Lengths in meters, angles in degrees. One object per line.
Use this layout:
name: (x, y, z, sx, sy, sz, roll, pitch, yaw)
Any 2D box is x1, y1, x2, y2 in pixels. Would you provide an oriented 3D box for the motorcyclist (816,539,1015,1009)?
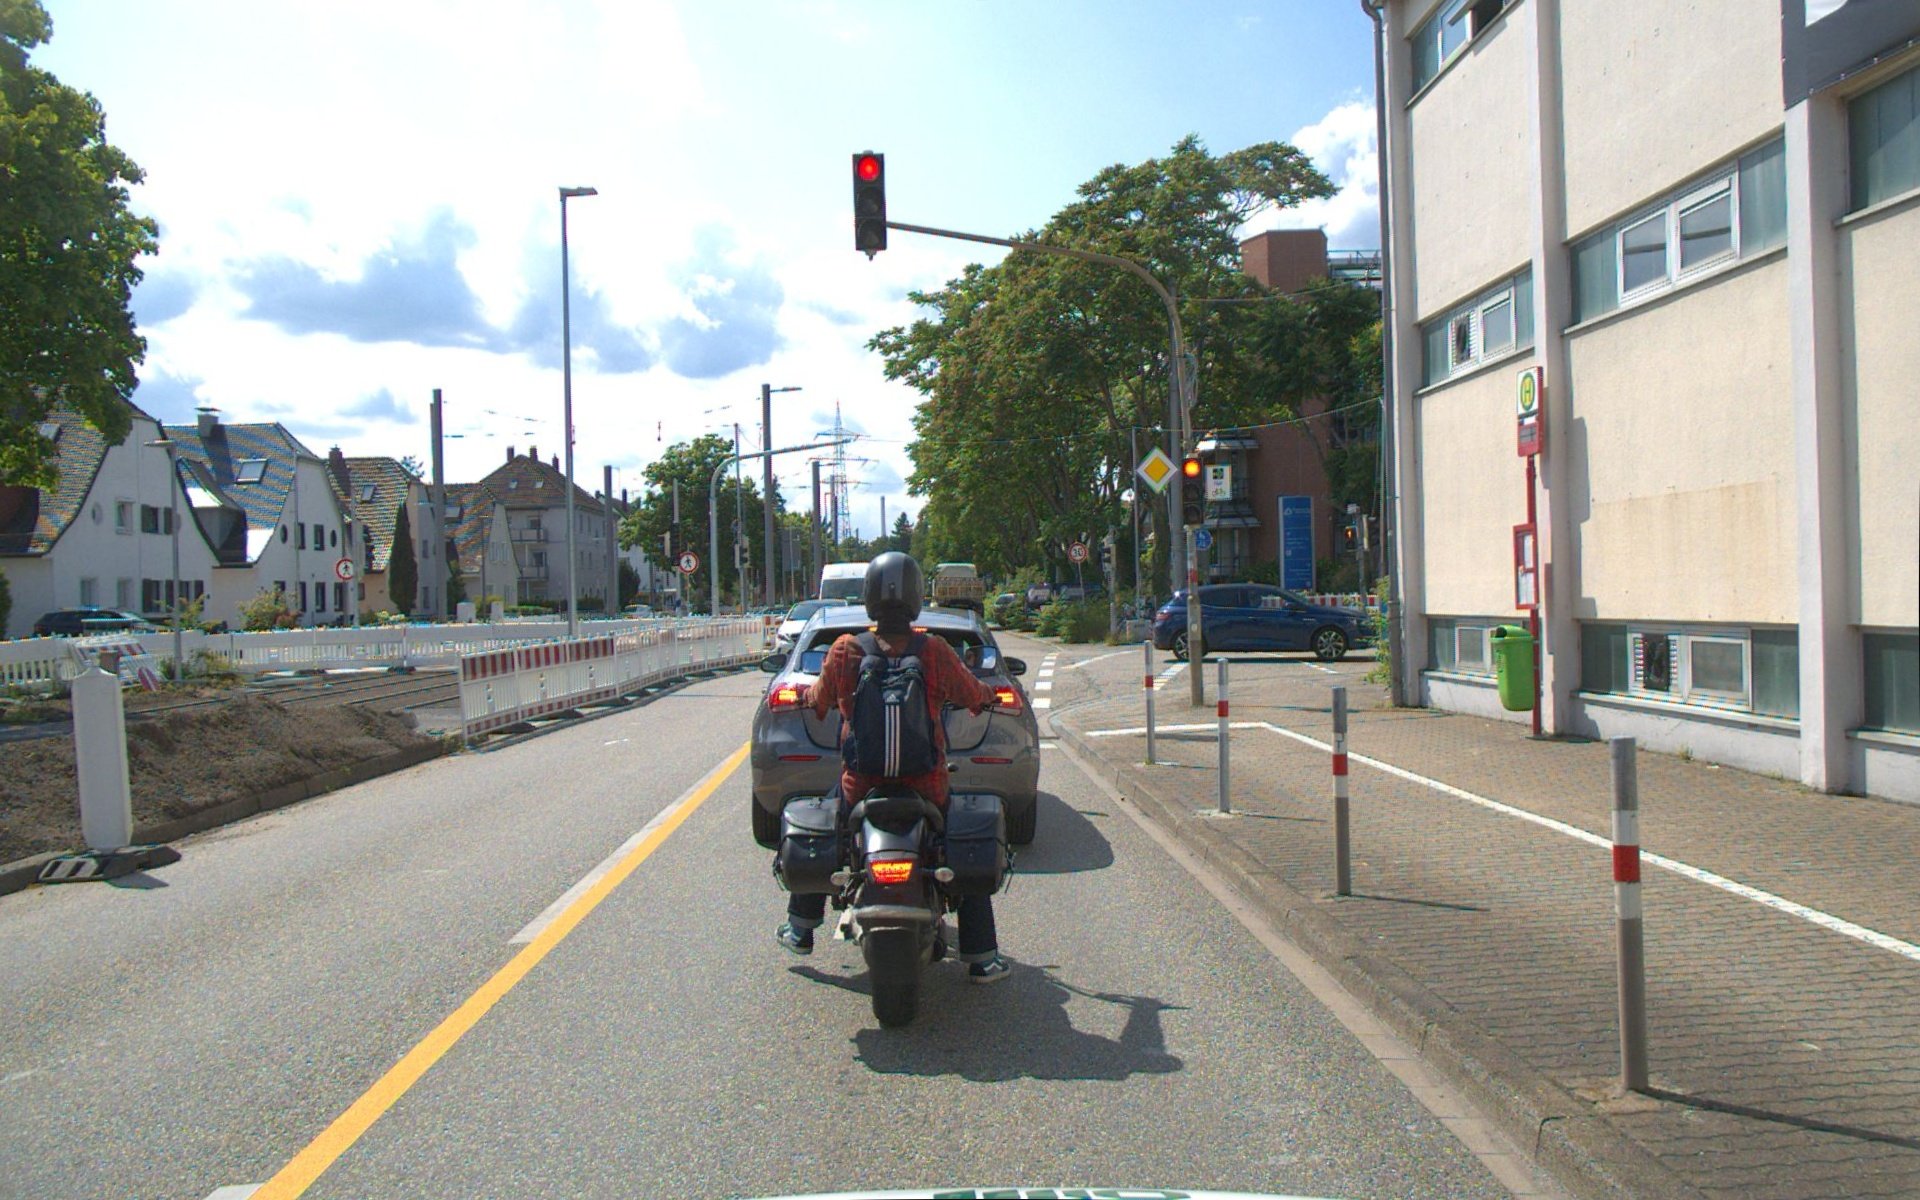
motorcyclist: (-0.163, 0.609, 6.111, 0.684, 1.632, 0.691, 0, -1, -2)

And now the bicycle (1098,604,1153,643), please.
bicycle: (5.133, 0.723, 51.272, 1.672, 1.192, 0.438, 0, -1, 3)

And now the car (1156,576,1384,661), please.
car: (5.942, 0.347, 31.670, 4.164, 1.524, 1.651, -1, 0, 14)

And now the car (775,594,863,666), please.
car: (-3.151, 0.664, 37.592, 1.709, 1.462, 4.082, -2, -1, -2)

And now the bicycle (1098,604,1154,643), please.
bicycle: (5.067, 0.715, 50.454, 1.672, 1.192, 0.438, 0, -1, 3)

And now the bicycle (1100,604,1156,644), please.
bicycle: (5.058, 0.709, 49.869, 1.672, 1.192, 0.438, 0, -1, 3)

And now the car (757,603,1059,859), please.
car: (-0.494, 0.749, 11.408, 1.698, 1.428, 4.081, 1, 0, -6)

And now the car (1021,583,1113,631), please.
car: (4.550, 0.316, 70.100, 1.772, 1.959, 3.973, 0, -1, 43)

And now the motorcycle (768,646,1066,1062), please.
motorcycle: (-0.164, 0.829, 6.413, 0.923, 1.221, 2.472, 0, 0, -2)

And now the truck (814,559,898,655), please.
truck: (-2.946, 0.136, 47.790, 2.050, 2.519, 5.195, -3, 1, -1)

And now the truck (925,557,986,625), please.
truck: (-0.154, -0.405, 82.883, 2.906, 3.229, 7.764, 0, -1, 1)

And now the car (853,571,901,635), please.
car: (-2.904, 0.118, 58.436, 1.557, 2.180, 3.626, 0, -1, -1)
